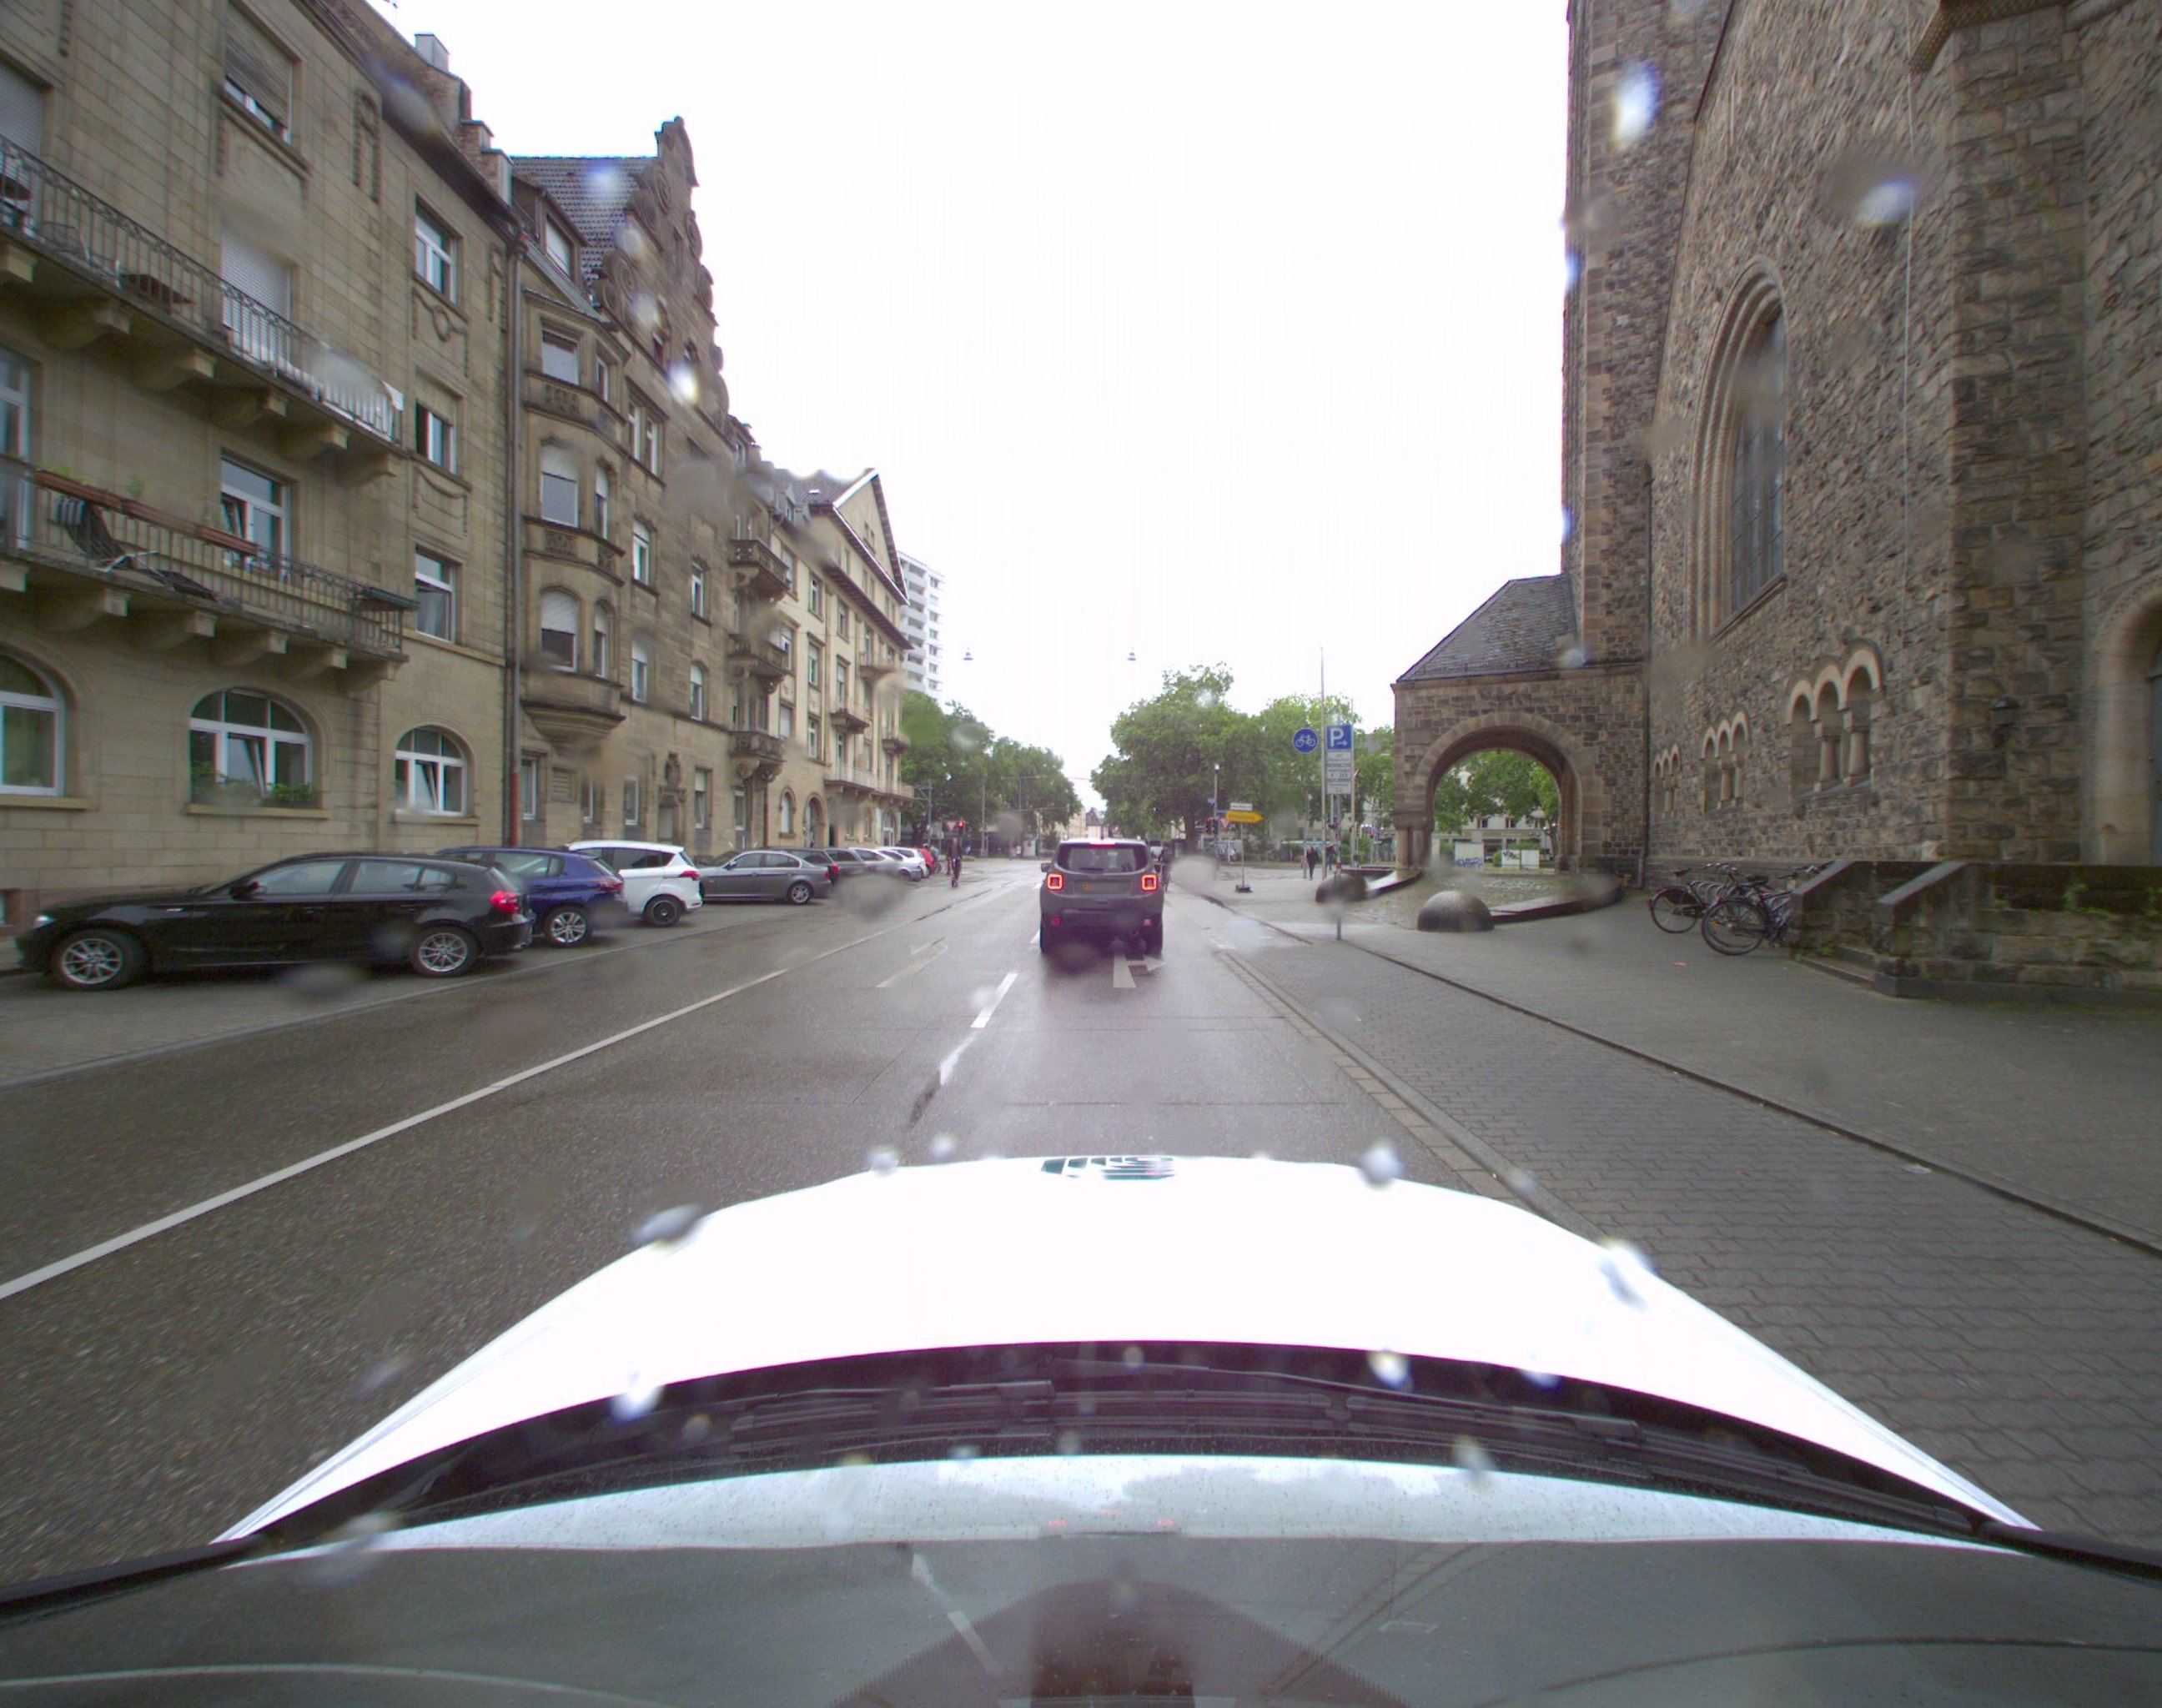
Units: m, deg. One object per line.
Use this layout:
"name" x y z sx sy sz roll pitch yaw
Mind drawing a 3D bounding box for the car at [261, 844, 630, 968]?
"car" -9.084 0.644 12.146 4.053 1.573 1.783 -1 0 -27

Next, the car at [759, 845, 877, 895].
"car" -8.799 0.498 27.313 3.418 1.558 1.634 0 1 -37

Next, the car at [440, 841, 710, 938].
"car" -9.268 0.554 15.070 4.063 1.555 1.778 -1 0 -38

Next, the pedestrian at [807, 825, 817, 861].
"pedestrian" -13.452 -0.548 40.680 0.365 1.822 0.347 -1 0 0

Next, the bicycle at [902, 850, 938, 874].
"bicycle" -8.614 0.413 43.625 1.804 1.266 0.498 0 0 0

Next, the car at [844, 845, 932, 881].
"car" -8.616 0.379 36.429 3.418 1.558 1.687 0 1 -37

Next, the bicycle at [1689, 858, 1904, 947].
"bicycle" 8.906 0.605 10.217 1.969 1.054 0.515 -2 -1 16

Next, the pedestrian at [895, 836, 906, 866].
"pedestrian" -11.996 -0.215 54.135 0.565 2.013 0.655 0 0 2

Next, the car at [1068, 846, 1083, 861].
"car" -0.622 -0.035 95.611 1.716 1.739 3.728 0 0 -1

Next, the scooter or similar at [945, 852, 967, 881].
"scooter or similar" -5.265 0.520 34.332 0.698 1.165 1.385 -1 0 0

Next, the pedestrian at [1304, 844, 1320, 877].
"pedestrian" 11.737 0.341 41.358 0.777 1.645 0.658 0 0 15

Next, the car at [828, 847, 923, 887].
"car" -8.435 0.479 33.526 3.418 1.558 1.687 0 1 -37

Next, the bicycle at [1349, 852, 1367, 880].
"bicycle" 11.903 0.485 35.033 0.327 1.154 2.080 0 0 8

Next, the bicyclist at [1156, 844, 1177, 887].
"bicyclist" 3.267 0.418 31.143 0.684 1.617 0.884 -1 0 1

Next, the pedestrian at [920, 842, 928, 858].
"pedestrian" -18.371 -0.446 95.503 0.686 1.826 0.623 0 0 18

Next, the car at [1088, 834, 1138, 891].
"car" 1.217 0.285 30.785 1.763 2.013 4.002 0 1 2

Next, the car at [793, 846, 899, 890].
"car" -8.700 0.486 30.263 3.418 1.558 1.687 0 1 -37

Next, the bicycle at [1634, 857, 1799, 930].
"bicycle" 10.205 0.630 13.156 1.970 1.105 0.694 -2 -1 13

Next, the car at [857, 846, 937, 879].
"car" -8.859 0.376 39.303 3.418 1.558 1.687 0 1 -37

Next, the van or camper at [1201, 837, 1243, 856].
"van or camper" 18.119 -0.946 104.946 5.232 2.315 2.093 1 1 6

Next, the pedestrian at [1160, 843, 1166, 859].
"pedestrian" 10.422 -0.403 103.128 0.646 2.013 0.484 0 0 15

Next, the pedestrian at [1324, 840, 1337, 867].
"pedestrian" 16.372 -0.038 53.496 0.779 1.759 0.950 0 0 17

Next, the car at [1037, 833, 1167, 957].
"car" 0.347 0.548 13.136 1.768 1.687 3.850 -1 1 2

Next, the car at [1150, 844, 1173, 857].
"car" 12.888 -0.575 129.941 3.410 2.013 1.554 -1 0 16

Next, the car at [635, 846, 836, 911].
"car" -8.933 0.553 21.307 4.572 1.545 1.669 0 1 -41

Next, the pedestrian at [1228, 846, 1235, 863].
"pedestrian" 14.710 0.039 79.586 0.607 1.603 0.497 0 0 26

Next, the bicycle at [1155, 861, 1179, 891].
"bicycle" 3.271 0.811 31.110 0.689 1.021 2.659 -1 1 2

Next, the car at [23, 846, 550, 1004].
"car" -8.781 0.670 9.576 4.053 1.512 1.783 -1 0 -27

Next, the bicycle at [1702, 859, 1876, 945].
"bicycle" 9.632 0.658 11.147 1.695 1.111 0.564 -2 -1 16

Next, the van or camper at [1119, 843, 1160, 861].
"van or camper" 9.773 -0.333 136.032 6.465 2.912 2.510 0 0 29

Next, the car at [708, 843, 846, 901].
"car" -9.007 0.478 24.225 3.570 1.598 1.588 0 1 -37

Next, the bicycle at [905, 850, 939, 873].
"bicycle" -8.867 0.389 45.350 1.757 1.266 0.608 0 0 0

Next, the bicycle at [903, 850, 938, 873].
"bicycle" -8.713 0.415 44.313 1.804 1.266 0.498 0 0 0

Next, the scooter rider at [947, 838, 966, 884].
"scooter rider" -5.269 0.280 34.445 0.708 1.935 0.503 -1 0 0

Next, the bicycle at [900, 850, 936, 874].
"bicycle" -8.621 0.427 43.077 1.757 1.266 0.522 0 0 0

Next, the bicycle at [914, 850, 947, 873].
"bicycle" -8.543 0.425 46.217 1.757 1.266 0.608 0 0 0
